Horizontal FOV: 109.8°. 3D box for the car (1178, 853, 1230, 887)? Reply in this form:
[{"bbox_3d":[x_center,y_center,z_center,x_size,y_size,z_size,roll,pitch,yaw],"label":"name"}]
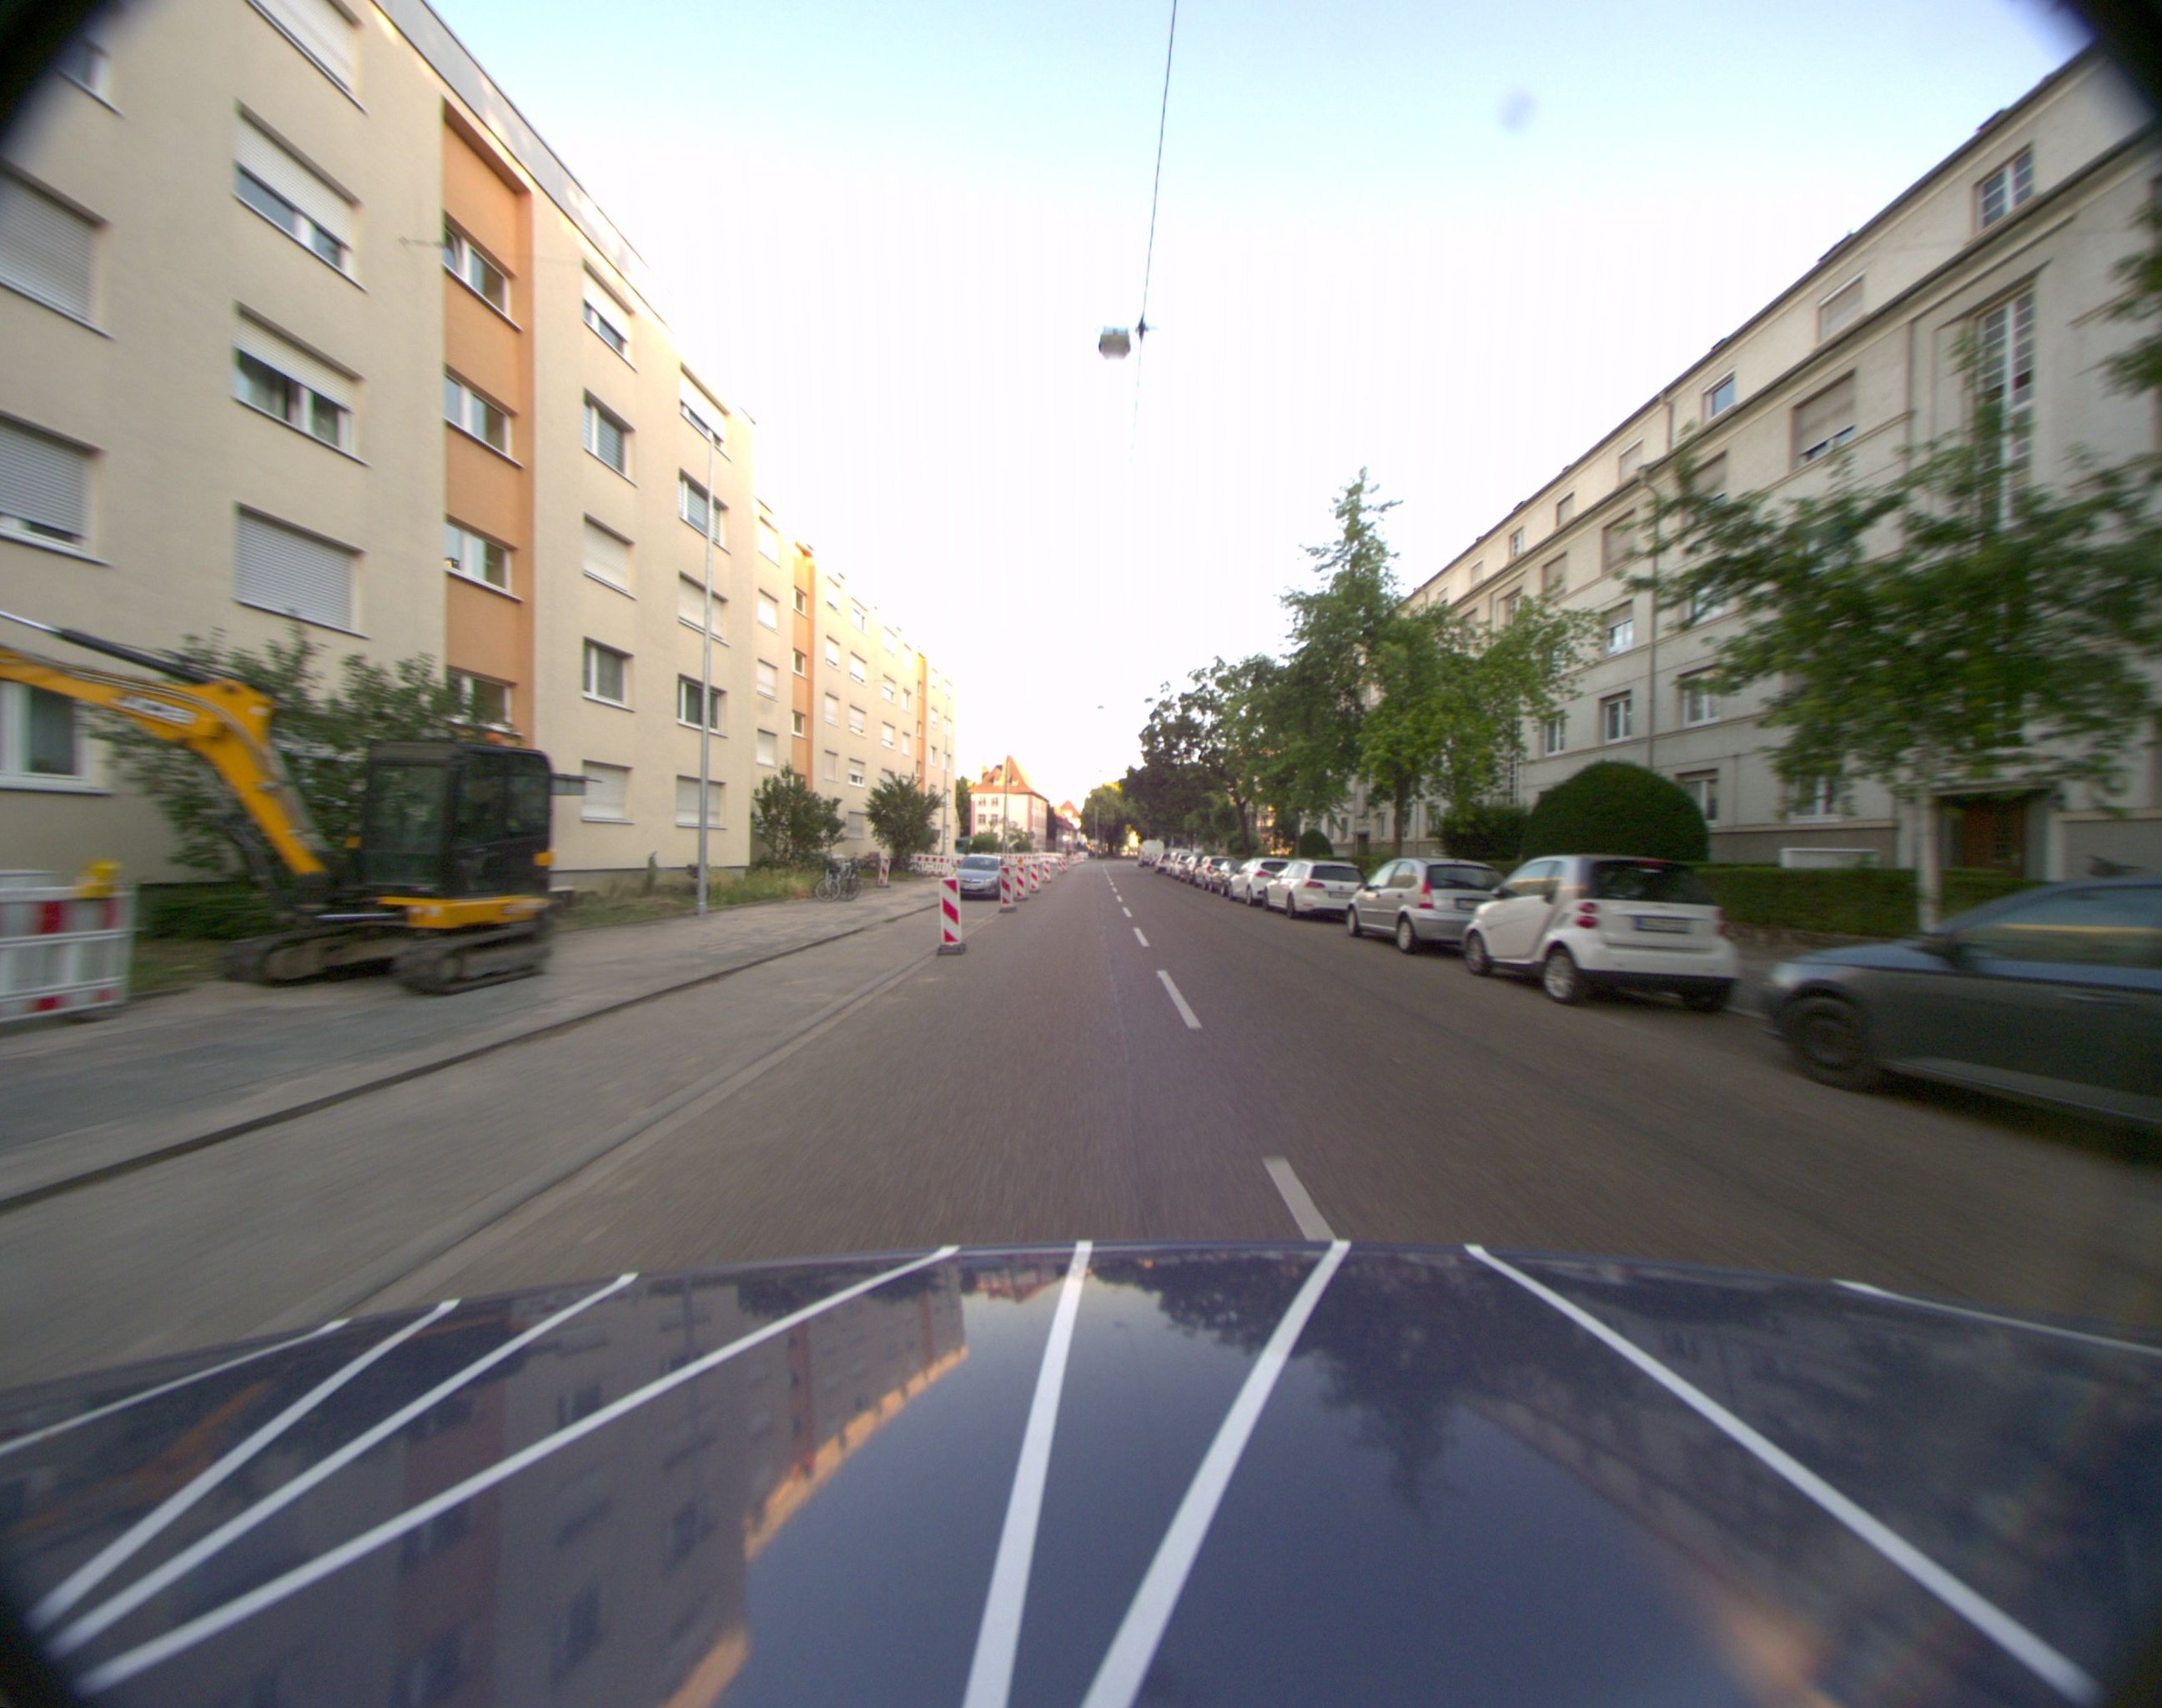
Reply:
[{"bbox_3d":[6.155,0.760,38.586,1.757,1.471,4.677,3,1,-1],"label":"car"}]

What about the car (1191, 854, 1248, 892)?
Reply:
[{"bbox_3d":[6.066,0.799,33.656,1.679,1.451,3.704,3,1,-1],"label":"car"}]

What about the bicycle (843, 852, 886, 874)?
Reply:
[{"bbox_3d":[-10.342,0.420,36.335,1.821,0.916,0.556,4,2,-40],"label":"bicycle"}]

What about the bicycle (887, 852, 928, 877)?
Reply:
[{"bbox_3d":[-8.463,0.516,37.090,1.815,1.017,0.558,5,2,2],"label":"bicycle"}]

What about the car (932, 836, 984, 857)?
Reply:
[{"bbox_3d":[-13.097,-0.816,81.337,5.029,2.117,2.291,0,1,9],"label":"car"}]

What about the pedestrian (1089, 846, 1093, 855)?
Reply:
[{"bbox_3d":[1.795,-0.634,133.742,0.716,1.600,0.518,0,1,-4],"label":"pedestrian"}]

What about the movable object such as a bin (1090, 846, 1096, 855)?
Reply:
[{"bbox_3d":[2.110,-0.650,134.560,0.977,1.600,0.634,0,1,-4],"label":"movable object such as a bin"}]

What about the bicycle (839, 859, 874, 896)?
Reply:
[{"bbox_3d":[-7.674,0.783,26.032,0.557,1.165,1.817,0,1,4],"label":"bicycle"}]

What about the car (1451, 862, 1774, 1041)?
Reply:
[{"bbox_3d":[5.674,0.926,8.565,1.593,1.520,2.921,3,1,3],"label":"car"}]

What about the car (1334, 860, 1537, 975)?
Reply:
[{"bbox_3d":[5.728,0.932,12.813,1.594,1.496,3.799,3,1,1],"label":"car"}]

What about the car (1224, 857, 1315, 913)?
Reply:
[{"bbox_3d":[5.791,0.899,23.826,1.696,1.451,4.144,3,1,-1],"label":"car"}]

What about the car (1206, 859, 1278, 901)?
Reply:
[{"bbox_3d":[6.008,0.921,28.863,1.678,1.324,4.579,3,1,0],"label":"car"}]

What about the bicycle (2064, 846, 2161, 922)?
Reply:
[{"bbox_3d":[17.631,0.480,12.518,0.557,1.223,1.817,0,1,4],"label":"bicycle"}]

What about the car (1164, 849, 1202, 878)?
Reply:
[{"bbox_3d":[6.498,0.567,48.608,1.757,1.622,4.106,3,1,0],"label":"car"}]

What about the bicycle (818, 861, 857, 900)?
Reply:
[{"bbox_3d":[-7.660,0.810,23.984,0.557,1.165,1.817,0,1,4],"label":"bicycle"}]

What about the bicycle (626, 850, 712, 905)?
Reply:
[{"bbox_3d":[-9.126,0.508,16.866,1.597,1.215,0.485,0,1,-5],"label":"bicycle"}]

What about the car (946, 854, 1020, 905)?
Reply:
[{"bbox_3d":[-3.395,0.834,27.128,1.780,1.482,4.573,4,1,2],"label":"car"}]

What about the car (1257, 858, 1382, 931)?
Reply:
[{"bbox_3d":[5.795,0.904,19.057,1.696,1.451,4.483,3,1,1],"label":"car"}]

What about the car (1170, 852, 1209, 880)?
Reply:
[{"bbox_3d":[6.228,0.666,44.040,1.756,1.471,3.944,3,1,2],"label":"car"}]

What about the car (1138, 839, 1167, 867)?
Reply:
[{"bbox_3d":[6.879,-0.152,73.362,2.184,2.447,6.102,3,1,1],"label":"car"}]

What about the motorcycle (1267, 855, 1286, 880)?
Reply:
[{"bbox_3d":[10.687,0.717,41.486,0.588,1.317,1.828,0,1,1],"label":"motorcycle"}]

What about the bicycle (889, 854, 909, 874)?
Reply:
[{"bbox_3d":[-9.211,0.492,38.390,0.559,0.860,1.610,4,2,-27],"label":"bicycle"}]

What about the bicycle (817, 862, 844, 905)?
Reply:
[{"bbox_3d":[-7.226,0.828,21.948,0.628,1.165,1.814,0,1,-15],"label":"bicycle"}]

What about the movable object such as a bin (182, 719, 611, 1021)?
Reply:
[{"bbox_3d":[-7.047,0.129,8.253,1.937,2.677,2.892,0,1,6],"label":"movable object such as a bin"}]

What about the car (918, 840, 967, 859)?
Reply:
[{"bbox_3d":[-13.864,-0.436,76.384,4.489,1.800,2.005,1,1,3],"label":"car"}]

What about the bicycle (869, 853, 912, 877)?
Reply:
[{"bbox_3d":[-8.866,0.506,35.361,1.755,0.981,0.558,6,2,10],"label":"bicycle"}]

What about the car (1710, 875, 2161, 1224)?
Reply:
[{"bbox_3d":[5.625,0.954,3.698,1.594,1.458,4.101,3,1,-1],"label":"car"}]

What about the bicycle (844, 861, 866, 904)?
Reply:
[{"bbox_3d":[-6.697,0.812,22.440,0.558,1.165,1.813,0,1,-19],"label":"bicycle"}]

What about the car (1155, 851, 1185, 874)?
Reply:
[{"bbox_3d":[6.287,0.568,54.056,1.756,1.463,4.224,3,1,2],"label":"car"}]
